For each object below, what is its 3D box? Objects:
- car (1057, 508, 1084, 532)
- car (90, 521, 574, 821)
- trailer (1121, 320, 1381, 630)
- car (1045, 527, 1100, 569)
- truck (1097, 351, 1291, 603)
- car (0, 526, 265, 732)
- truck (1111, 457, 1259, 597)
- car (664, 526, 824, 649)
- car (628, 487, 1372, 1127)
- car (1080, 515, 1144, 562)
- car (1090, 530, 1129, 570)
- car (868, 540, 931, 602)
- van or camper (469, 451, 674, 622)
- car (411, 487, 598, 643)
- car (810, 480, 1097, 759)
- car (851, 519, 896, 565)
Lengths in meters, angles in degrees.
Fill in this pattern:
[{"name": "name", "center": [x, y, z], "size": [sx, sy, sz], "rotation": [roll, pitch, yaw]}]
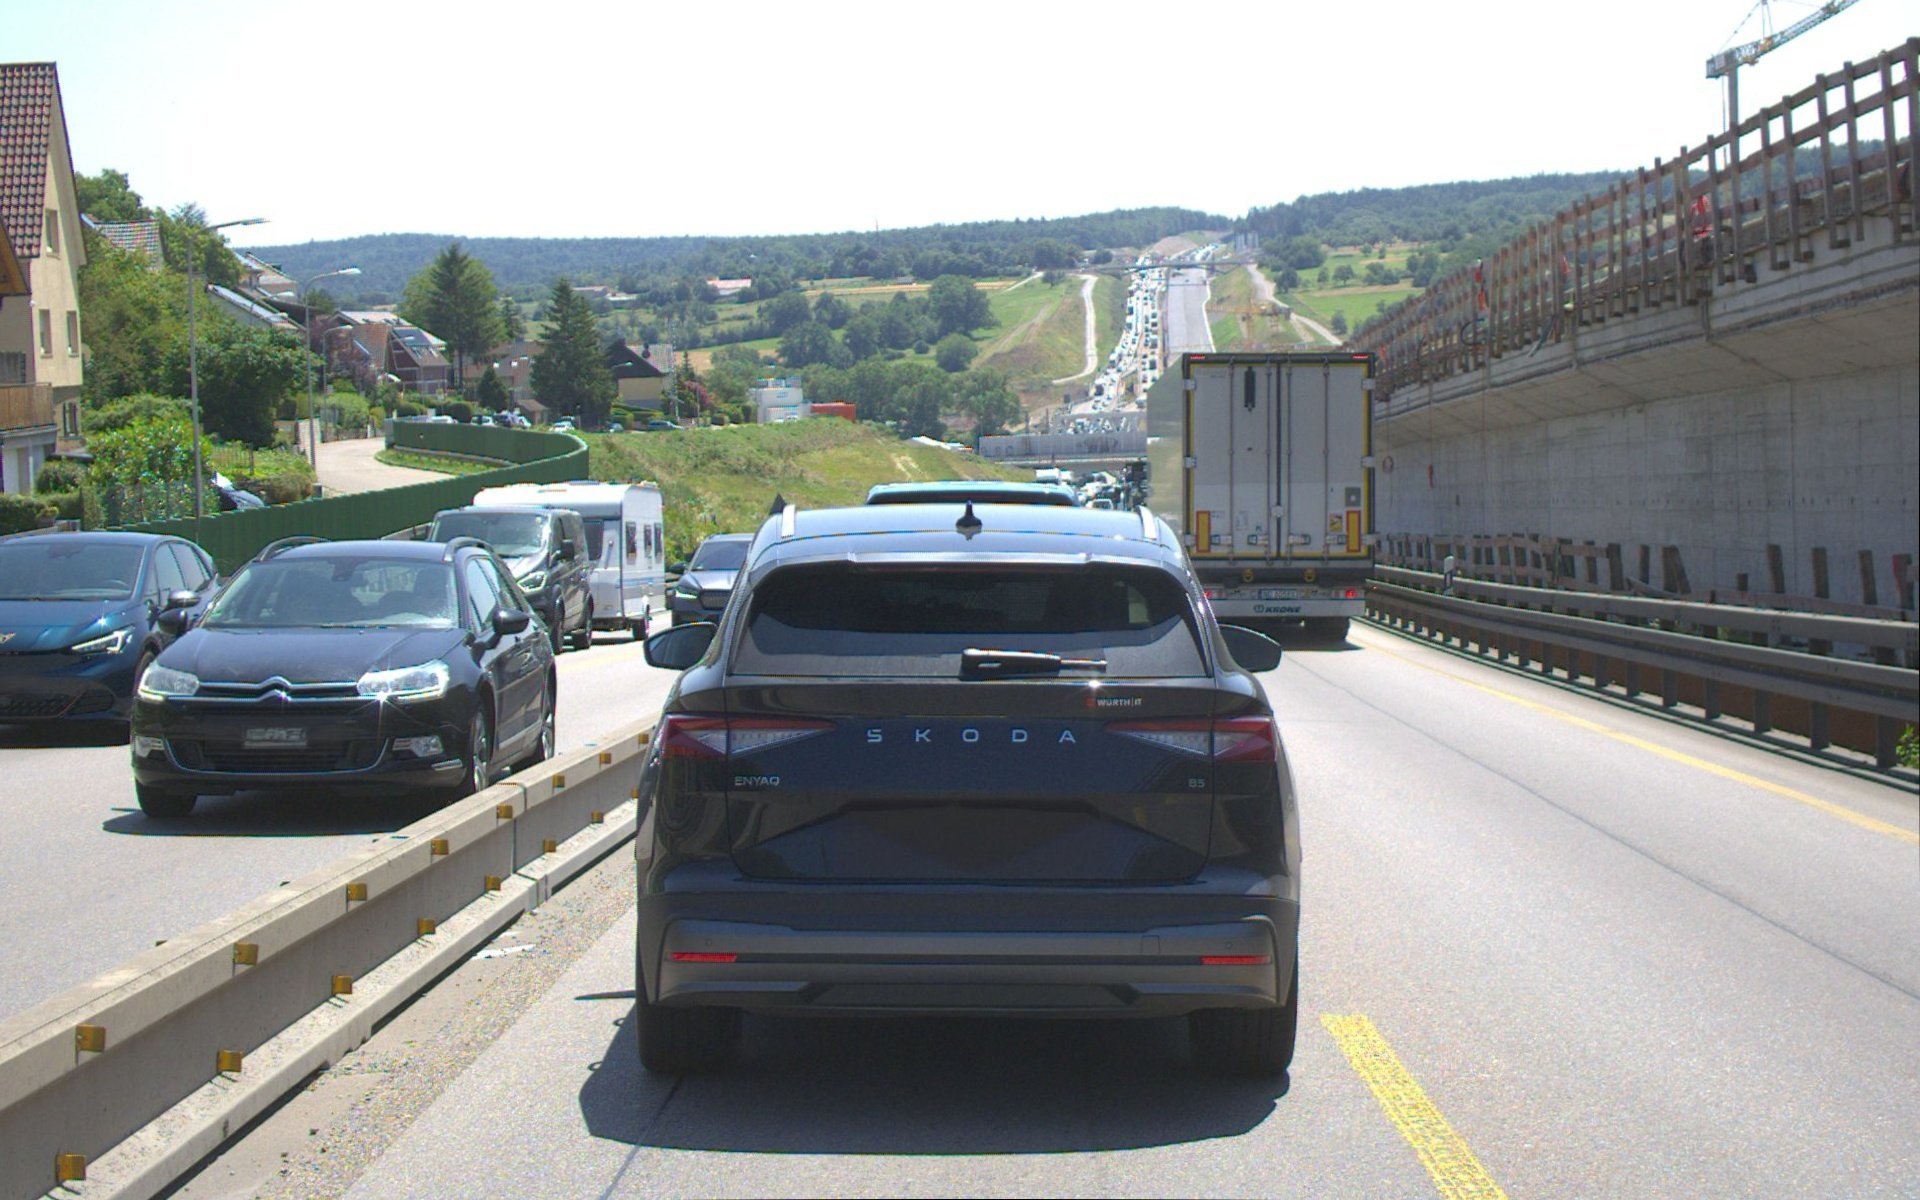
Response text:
[{"name": "car", "center": [7.904, -5.742, 246.232], "size": [1.844, 1.579, 3.836], "rotation": [1, 0, 0]}, {"name": "car", "center": [-3.440, 0.364, 19.733], "size": [1.993, 1.499, 4.649], "rotation": [1, 0, -1]}, {"name": "trailer", "center": [4.172, -1.661, 51.776], "size": [2.531, 4.113, 11.548], "rotation": [1, 0, -2]}, {"name": "car", "center": [4.511, -2.077, 138.040], "size": [1.993, 1.579, 3.836], "rotation": [1, 0, -1]}, {"name": "truck", "center": [3.922, -1.966, 59.283], "size": [2.513, 4.011, 8.238], "rotation": [1, 0, -2]}, {"name": "car", "center": [-6.720, 0.205, 26.538], "size": [1.842, 1.455, 4.177], "rotation": [1, 0, 0]}, {"name": "truck", "center": [5.482, -1.696, 85.929], "size": [3.195, 3.180, 12.808], "rotation": [0, 0, 2]}, {"name": "car", "center": [-2.896, -0.157, 46.927], "size": [1.872, 1.581, 4.479], "rotation": [1, 0, 0]}, {"name": "car", "center": [-0.078, 0.522, 10.525], "size": [1.842, 1.581, 3.908], "rotation": [1, 0, -6]}, {"name": "car", "center": [5.365, -2.155, 121.486], "size": [1.993, 1.579, 3.836], "rotation": [1, 0, -1]}, {"name": "car", "center": [6.654, -2.203, 152.889], "size": [1.701, 1.722, 3.836], "rotation": [1, 0, 3]}, {"name": "car", "center": [-1.554, -0.736, 88.817], "size": [1.547, 1.543, 3.238], "rotation": [1, 0, 0]}, {"name": "van or camper", "center": [-6.013, -0.936, 54.022], "size": [2.354, 2.508, 6.327], "rotation": [1, 0, 1]}, {"name": "car", "center": [-6.155, -0.455, 46.840], "size": [1.993, 2.007, 4.000], "rotation": [1, 0, 0]}, {"name": "car", "center": [-0.130, 0.083, 25.241], "size": [1.706, 1.875, 4.001], "rotation": [1, 1, -6]}, {"name": "car", "center": [-3.373, -2.254, 133.928], "size": [1.700, 1.722, 3.836], "rotation": [1, 0, -2]}]
